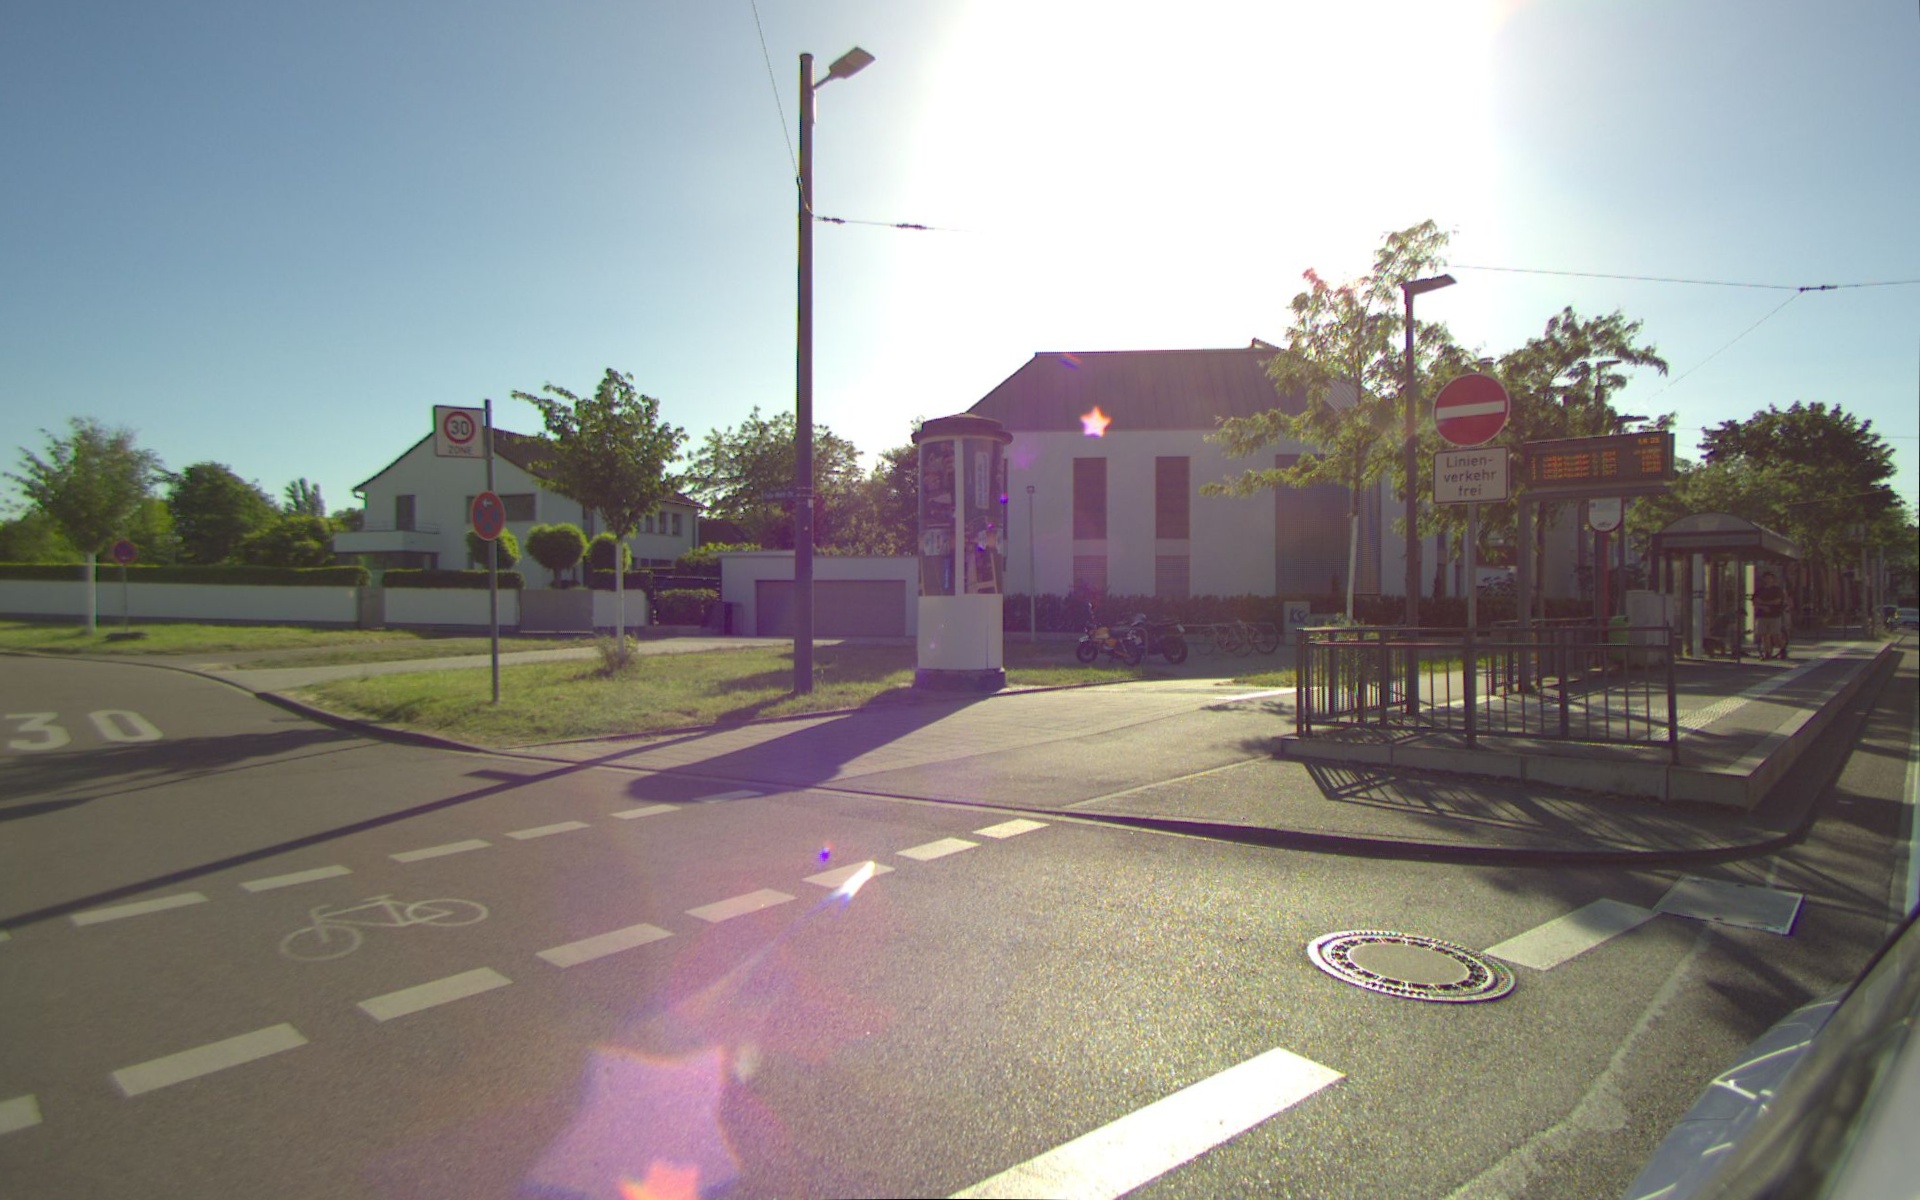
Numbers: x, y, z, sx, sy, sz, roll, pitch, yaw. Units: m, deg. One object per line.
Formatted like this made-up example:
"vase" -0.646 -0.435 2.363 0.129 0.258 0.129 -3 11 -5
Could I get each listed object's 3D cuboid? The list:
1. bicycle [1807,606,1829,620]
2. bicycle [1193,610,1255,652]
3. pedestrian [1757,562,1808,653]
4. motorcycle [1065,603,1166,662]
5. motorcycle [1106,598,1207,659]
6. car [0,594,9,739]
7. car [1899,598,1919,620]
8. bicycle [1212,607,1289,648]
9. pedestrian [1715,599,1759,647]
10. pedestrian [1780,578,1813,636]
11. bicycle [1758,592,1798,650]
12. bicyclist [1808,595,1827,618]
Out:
"bicycle" 58.620 0.883 69.140 2.160 0.897 0.826 0 0 -42
"bicycle" 6.583 0.752 25.247 1.467 0.991 0.410 0 0 39
"pedestrian" 17.261 0.161 21.238 0.717 1.877 0.711 0 -2 -44
"motorcycle" 3.291 0.659 21.523 1.994 1.172 0.850 0 0 39
"motorcycle" 4.380 0.601 22.625 2.073 1.290 0.850 0 0 39
"car" -9.584 0.731 8.171 1.944 1.484 4.620 -2 1 -33
"car" 65.205 0.630 68.626 1.732 1.477 3.645 0 0 36
"bicycle" 7.551 0.700 26.350 1.894 0.991 0.484 0 0 39
"pedestrian" 18.515 0.547 24.127 0.738 1.132 0.648 -2 -2 44
"pedestrian" 25.372 0.205 30.703 0.671 1.726 0.680 -2 -2 44
"bicycle" 18.276 0.443 22.594 0.619 1.245 1.938 -1 -1 40
"bicyclist" 58.560 0.435 69.084 1.236 1.519 0.818 1 -1 -42
